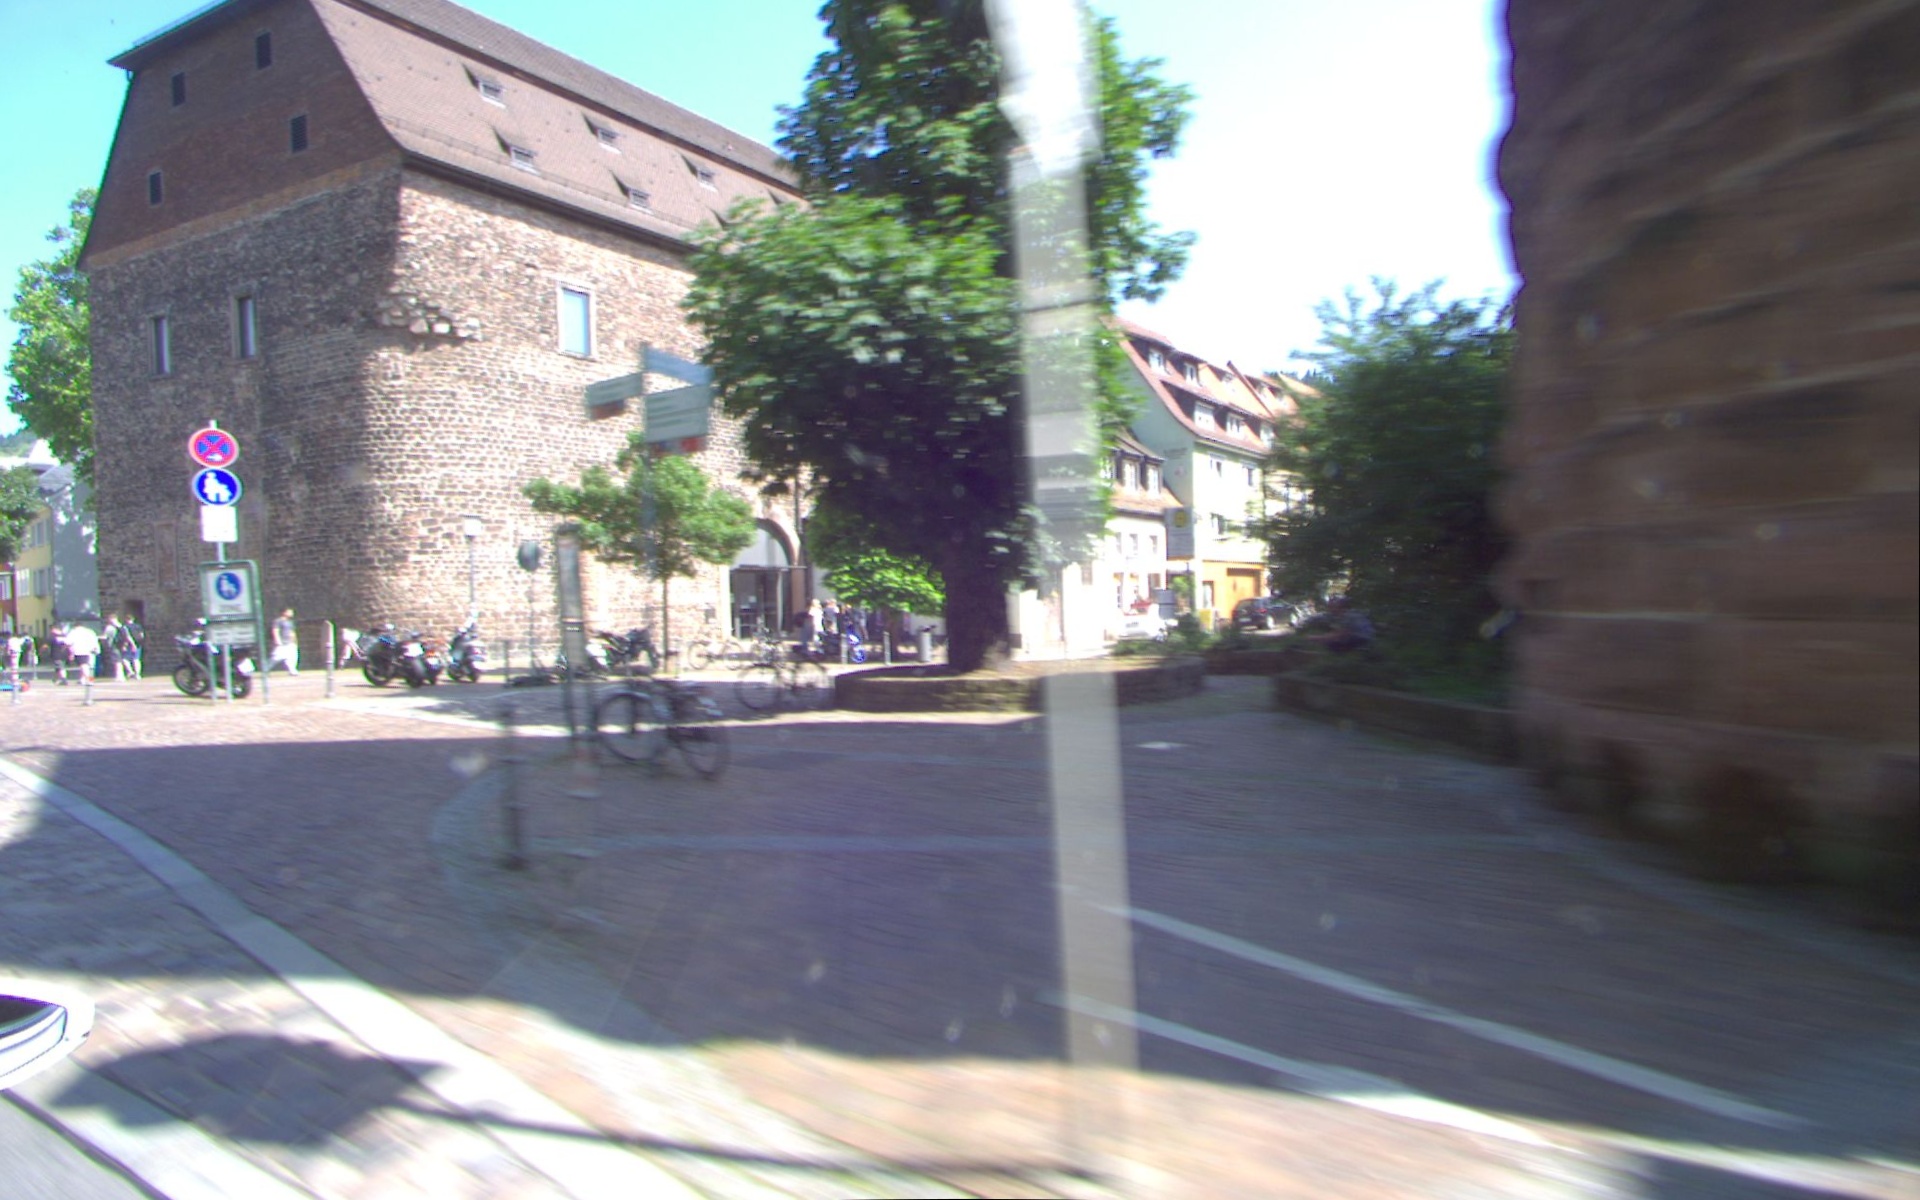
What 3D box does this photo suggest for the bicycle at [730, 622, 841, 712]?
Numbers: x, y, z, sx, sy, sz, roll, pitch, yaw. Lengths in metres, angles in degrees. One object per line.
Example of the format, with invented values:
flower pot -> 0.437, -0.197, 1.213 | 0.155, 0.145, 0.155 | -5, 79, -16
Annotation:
bicycle -> -2.439, 0.904, 13.914 | 1.707, 1.177, 0.445 | -1, 0, 36

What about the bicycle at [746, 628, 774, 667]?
bicycle -> -5.188, 1.230, 25.934 | 0.355, 0.961, 1.377 | 0, -2, -26

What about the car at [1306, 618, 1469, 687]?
car -> 12.114, 1.487, 28.489 | 3.951, 1.843, 1.723 | -3, -3, 38

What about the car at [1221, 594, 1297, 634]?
car -> 13.167, 0.592, 43.929 | 1.974, 1.611, 3.974 | -2, -1, 36

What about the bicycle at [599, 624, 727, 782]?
bicycle -> -2.535, 0.812, 8.432 | 1.750, 1.219, 0.192 | -1, 0, 44

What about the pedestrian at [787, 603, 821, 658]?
pedestrian -> -4.848, 0.940, 31.088 | 0.799, 1.684, 0.652 | -2, 1, -33

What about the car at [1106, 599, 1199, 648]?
car -> 6.975, 0.820, 36.021 | 1.814, 1.592, 3.822 | -2, -1, 36

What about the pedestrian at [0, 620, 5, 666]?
pedestrian -> -36.413, 1.630, 37.805 | 0.460, 1.702, 0.448 | -2, -2, 36

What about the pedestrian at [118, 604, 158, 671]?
pedestrian -> -25.635, 1.182, 31.221 | 0.866, 2.039, 0.729 | -2, -2, 32

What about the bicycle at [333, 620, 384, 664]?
bicycle -> -17.430, 1.223, 29.023 | 1.691, 1.224, 0.388 | -2, -2, 25

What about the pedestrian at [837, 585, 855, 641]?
pedestrian -> -4.216, 0.484, 37.147 | 0.499, 2.039, 0.442 | -1, -2, 21

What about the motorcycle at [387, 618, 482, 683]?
motorcycle -> -10.658, 1.034, 20.266 | 2.280, 1.251, 0.674 | -2, -2, 33

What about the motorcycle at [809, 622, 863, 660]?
motorcycle -> -3.567, 1.189, 28.759 | 1.588, 1.047, 0.387 | -2, -2, 26

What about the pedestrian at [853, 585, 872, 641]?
pedestrian -> -3.594, 0.477, 36.861 | 0.520, 2.039, 0.439 | -2, -2, 44

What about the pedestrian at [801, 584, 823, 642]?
pedestrian -> -5.356, 0.475, 36.257 | 0.787, 2.039, 0.734 | -1, -2, -8

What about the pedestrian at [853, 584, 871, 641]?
pedestrian -> -3.537, 0.471, 36.110 | 0.435, 2.039, 0.620 | -1, -2, 17

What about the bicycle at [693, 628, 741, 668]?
bicycle -> -6.229, 1.235, 25.653 | 1.362, 0.978, 0.359 | -2, -2, 32

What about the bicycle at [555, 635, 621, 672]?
bicycle -> -8.786, 1.252, 23.621 | 1.898, 0.831, 0.353 | -1, -1, 32

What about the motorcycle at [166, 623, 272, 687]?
motorcycle -> -12.675, 0.921, 17.106 | 2.454, 1.026, 0.565 | -1, 0, 32

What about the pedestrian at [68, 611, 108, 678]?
pedestrian -> -25.323, 1.295, 29.069 | 0.809, 1.908, 0.667 | -2, -2, 31

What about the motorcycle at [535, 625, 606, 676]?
motorcycle -> -8.643, 1.120, 22.192 | 1.814, 1.086, 0.506 | -2, -2, 33

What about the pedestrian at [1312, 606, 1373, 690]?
pedestrian -> 5.082, 0.639, 13.292 | 0.640, 1.082, 0.628 | -2, -2, 31

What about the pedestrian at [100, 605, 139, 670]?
pedestrian -> -25.287, 1.131, 30.118 | 0.809, 1.944, 0.667 | -2, -2, 31

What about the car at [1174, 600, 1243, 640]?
car -> 9.832, 0.776, 39.514 | 1.473, 1.474, 3.138 | -2, -1, 39

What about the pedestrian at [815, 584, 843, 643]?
pedestrian -> -4.640, 0.485, 35.506 | 0.759, 2.039, 0.692 | -1, -2, 20

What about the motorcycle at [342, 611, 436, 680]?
motorcycle -> -11.151, 0.899, 19.526 | 2.169, 1.282, 0.654 | -2, -1, 33

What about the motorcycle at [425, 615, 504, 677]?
motorcycle -> -10.526, 0.984, 21.237 | 2.002, 1.251, 0.545 | -2, -2, 33

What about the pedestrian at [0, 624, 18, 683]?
pedestrian -> -22.810, 1.272, 23.774 | 0.580, 1.402, 0.556 | -2, -2, 35

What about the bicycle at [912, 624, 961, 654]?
bicycle -> -0.754, 1.225, 31.441 | 1.566, 0.890, 0.419 | -2, -2, 32

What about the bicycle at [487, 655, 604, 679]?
bicycle -> -8.086, 1.300, 19.578 | 1.915, 0.386, 0.909 | 0, -2, -43

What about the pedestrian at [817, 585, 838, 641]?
pedestrian -> -4.921, 0.489, 37.110 | 0.556, 2.039, 0.648 | 0, -2, -29

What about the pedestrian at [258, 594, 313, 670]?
pedestrian -> -18.079, 0.852, 26.854 | 0.898, 1.974, 0.829 | -1, 1, -5

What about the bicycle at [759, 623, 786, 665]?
bicycle -> -5.039, 1.185, 26.889 | 0.355, 1.099, 1.376 | 0, -1, -26

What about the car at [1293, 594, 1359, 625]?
car -> 18.638, 0.520, 50.903 | 1.976, 1.431, 3.972 | -3, -3, 38

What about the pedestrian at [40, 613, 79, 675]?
pedestrian -> -26.639, 1.292, 29.632 | 0.835, 1.825, 0.651 | -1, -1, 32

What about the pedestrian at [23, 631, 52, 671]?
pedestrian -> -48.456, 2.679, 52.619 | 0.796, 2.039, 0.938 | -2, -2, 33

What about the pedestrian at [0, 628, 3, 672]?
pedestrian -> -45.214, 2.350, 46.487 | 0.796, 2.039, 0.943 | -2, -2, 33

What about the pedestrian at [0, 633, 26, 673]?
pedestrian -> -48.903, 2.726, 51.689 | 0.728, 2.039, 0.838 | -2, -2, 33

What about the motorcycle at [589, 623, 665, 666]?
motorcycle -> -8.522, 1.143, 25.692 | 0.474, 1.067, 1.857 | -2, -3, 40

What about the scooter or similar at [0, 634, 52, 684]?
scooter or similar -> -20.343, 1.266, 21.593 | 0.318, 1.079, 1.087 | -2, -2, 30
